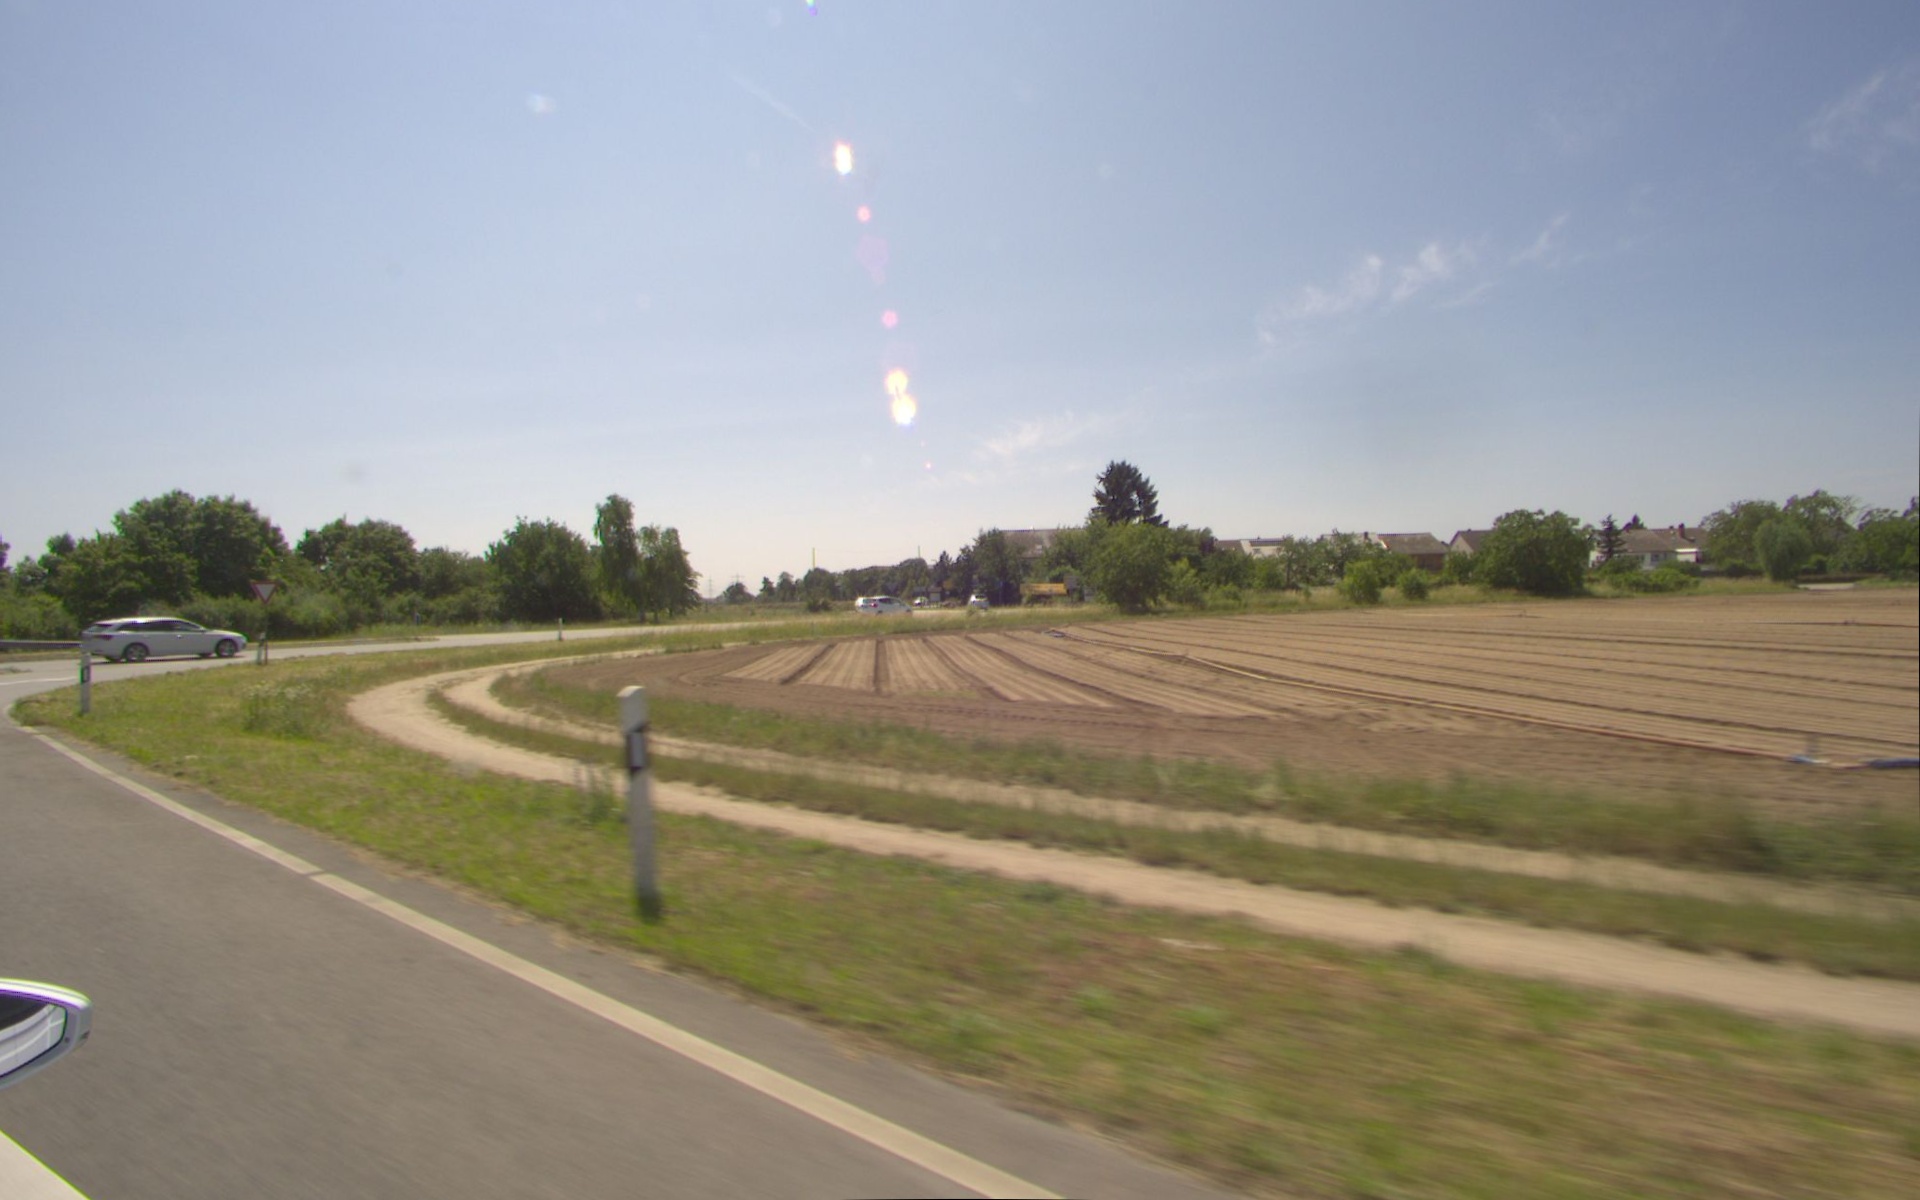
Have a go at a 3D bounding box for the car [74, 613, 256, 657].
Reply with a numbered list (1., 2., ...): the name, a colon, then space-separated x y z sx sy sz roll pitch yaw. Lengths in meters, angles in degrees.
1. car: -27.781 1.185 35.180 1.815 1.437 4.692 -1 -1 31

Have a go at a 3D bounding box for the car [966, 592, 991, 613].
1. car: 1.631 0.189 85.270 1.613 1.645 3.998 -1 0 8

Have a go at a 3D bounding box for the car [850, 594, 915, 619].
1. car: -5.415 0.457 69.813 4.095 1.645 2.053 -2 1 -40
